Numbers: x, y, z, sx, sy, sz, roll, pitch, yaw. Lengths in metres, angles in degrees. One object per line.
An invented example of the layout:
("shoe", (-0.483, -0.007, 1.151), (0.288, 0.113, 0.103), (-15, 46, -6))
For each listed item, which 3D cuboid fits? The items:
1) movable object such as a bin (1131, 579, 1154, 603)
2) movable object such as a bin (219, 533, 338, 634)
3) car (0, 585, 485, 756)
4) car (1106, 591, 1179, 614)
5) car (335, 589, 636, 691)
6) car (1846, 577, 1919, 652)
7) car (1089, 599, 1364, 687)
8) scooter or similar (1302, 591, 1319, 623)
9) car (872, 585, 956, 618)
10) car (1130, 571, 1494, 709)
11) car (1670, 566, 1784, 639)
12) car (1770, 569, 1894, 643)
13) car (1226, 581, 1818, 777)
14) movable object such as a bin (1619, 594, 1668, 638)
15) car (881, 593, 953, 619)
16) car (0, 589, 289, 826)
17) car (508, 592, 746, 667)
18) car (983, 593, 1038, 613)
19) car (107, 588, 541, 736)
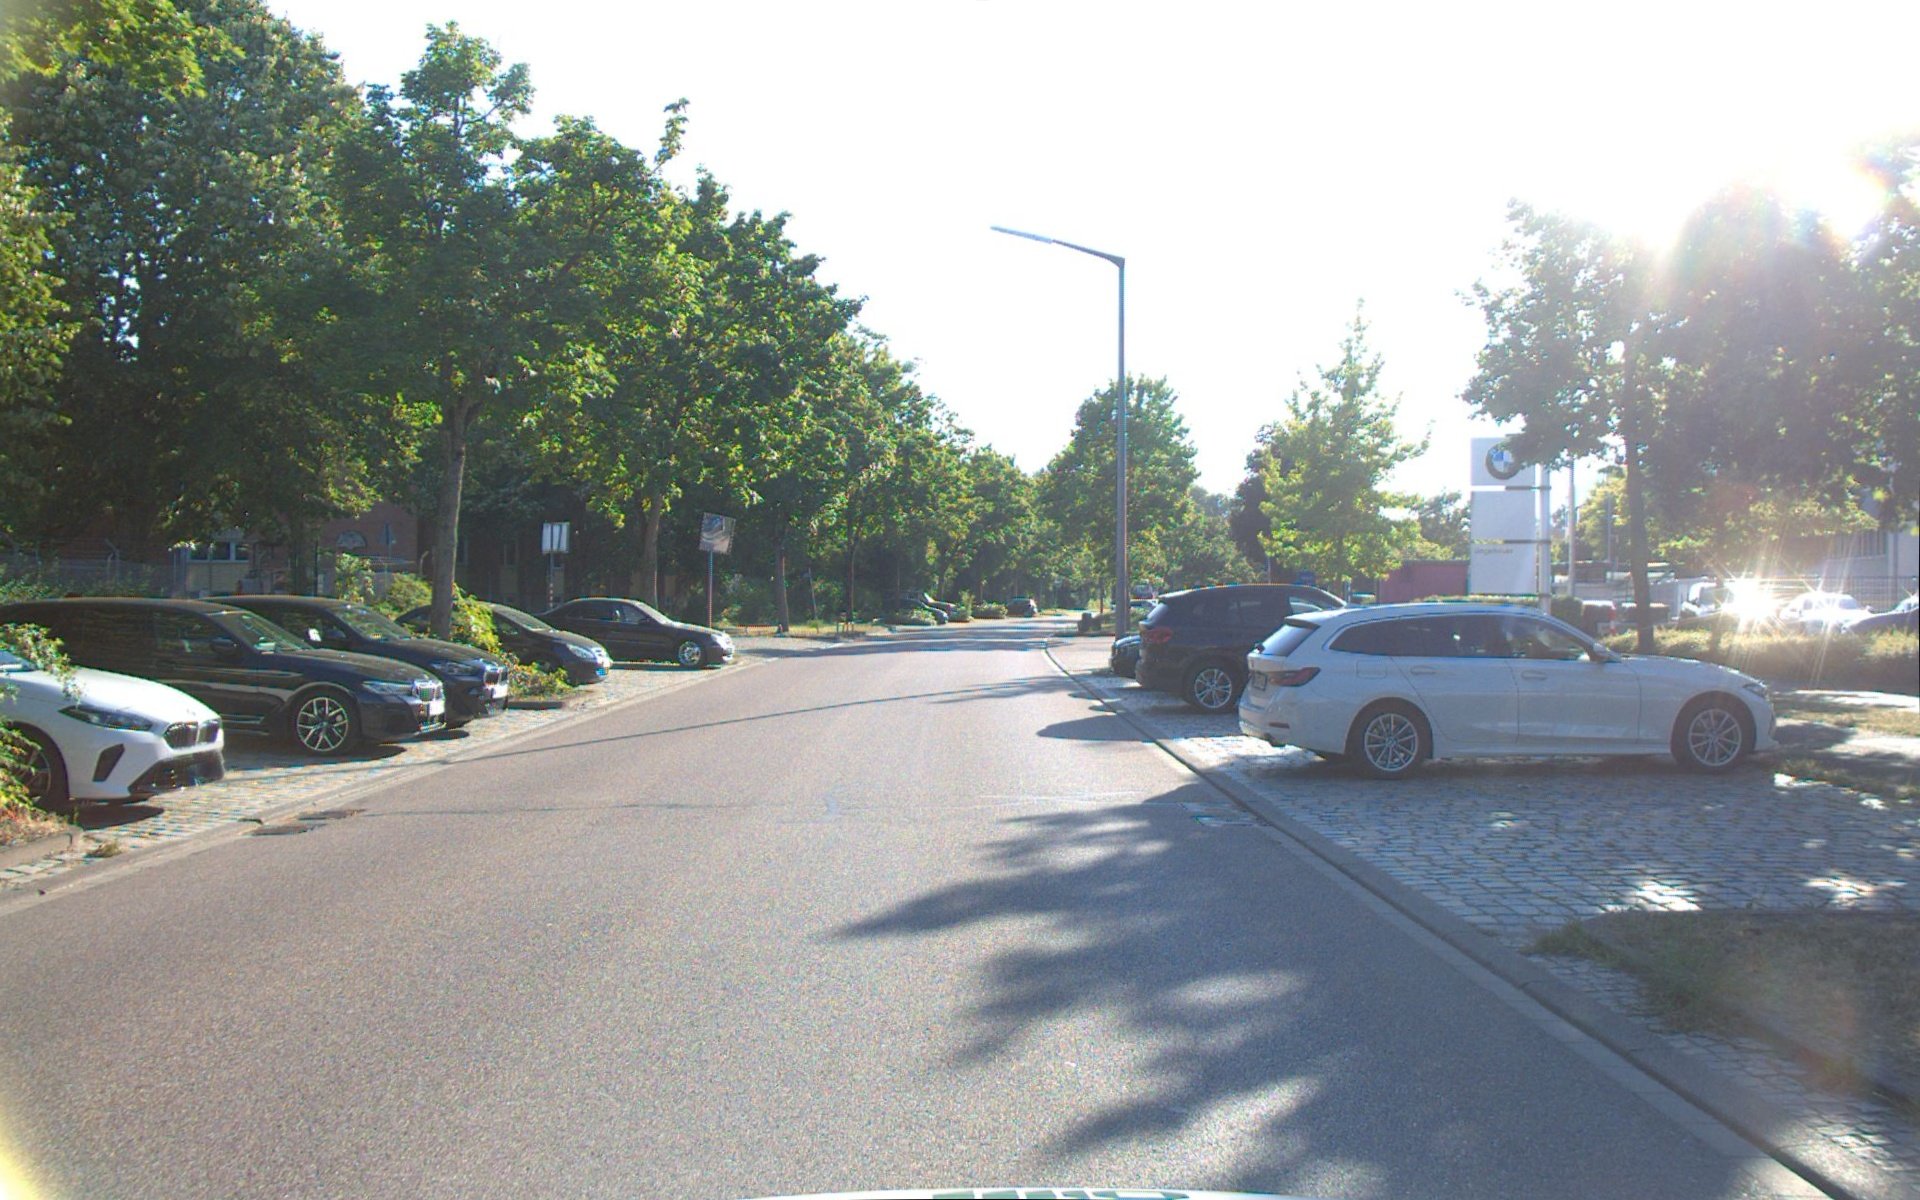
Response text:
("movable object such as a bin", (24.574, -1.232, 222.762), (2.778, 3.122, 4.931), (2, 1, 9))
("movable object such as a bin", (-19.478, -0.466, 47.139), (2.140, 2.711, 4.744), (0, 0, -35))
("car", (-7.726, 0.692, 17.497), (4.749, 1.557, 2.001), (2, 0, 2))
("car", (12.860, 0.193, 116.614), (5.065, 1.601, 2.159), (0, 0, 8))
("car", (-7.800, 0.634, 27.534), (4.388, 1.487, 2.000), (2, 0, -1))
("car", (20.466, 0.262, 32.911), (4.702, 1.489, 1.989), (-1, 0, 41))
("car", (4.491, 0.713, 28.396), (4.390, 1.428, 2.033), (0, 0, -1))
("scooter or similar", (14.465, 0.281, 68.208), (0.509, 1.294, 1.388), (0, 0, 5))
("car", (-2.839, 0.086, 102.316), (4.898, 2.055, 2.176), (0, 0, 7))
("car", (4.665, 0.509, 22.536), (4.596, 1.781, 2.193), (0, 0, 4))
("car", (20.663, 0.057, 44.746), (1.988, 1.860, 4.980), (0, 0, 15))
("car", (23.145, 0.139, 44.074), (1.988, 1.860, 4.564), (0, 0, 15))
("car", (4.869, 0.653, 14.823), (4.599, 1.505, 2.000), (-2, 0, -1))
("movable object such as a bin", (20.324, 0.481, 49.211), (1.093, 1.290, 1.039), (0, 0, 6))
("car", (-2.551, 0.354, 98.497), (4.122, 1.557, 1.707), (0, 0, 7))
("car", (-7.569, 0.704, 12.407), (4.198, 1.557, 2.000), (2, 0, 0))
("car", (-7.430, 0.647, 37.271), (4.932, 1.487, 2.000), (2, 0, -1))
("car", (4.250, 0.258, 138.880), (4.266, 1.505, 2.002), (2, 1, 11))
("car", (-7.503, 0.702, 19.857), (4.388, 1.557, 2.000), (2, 0, -1))
